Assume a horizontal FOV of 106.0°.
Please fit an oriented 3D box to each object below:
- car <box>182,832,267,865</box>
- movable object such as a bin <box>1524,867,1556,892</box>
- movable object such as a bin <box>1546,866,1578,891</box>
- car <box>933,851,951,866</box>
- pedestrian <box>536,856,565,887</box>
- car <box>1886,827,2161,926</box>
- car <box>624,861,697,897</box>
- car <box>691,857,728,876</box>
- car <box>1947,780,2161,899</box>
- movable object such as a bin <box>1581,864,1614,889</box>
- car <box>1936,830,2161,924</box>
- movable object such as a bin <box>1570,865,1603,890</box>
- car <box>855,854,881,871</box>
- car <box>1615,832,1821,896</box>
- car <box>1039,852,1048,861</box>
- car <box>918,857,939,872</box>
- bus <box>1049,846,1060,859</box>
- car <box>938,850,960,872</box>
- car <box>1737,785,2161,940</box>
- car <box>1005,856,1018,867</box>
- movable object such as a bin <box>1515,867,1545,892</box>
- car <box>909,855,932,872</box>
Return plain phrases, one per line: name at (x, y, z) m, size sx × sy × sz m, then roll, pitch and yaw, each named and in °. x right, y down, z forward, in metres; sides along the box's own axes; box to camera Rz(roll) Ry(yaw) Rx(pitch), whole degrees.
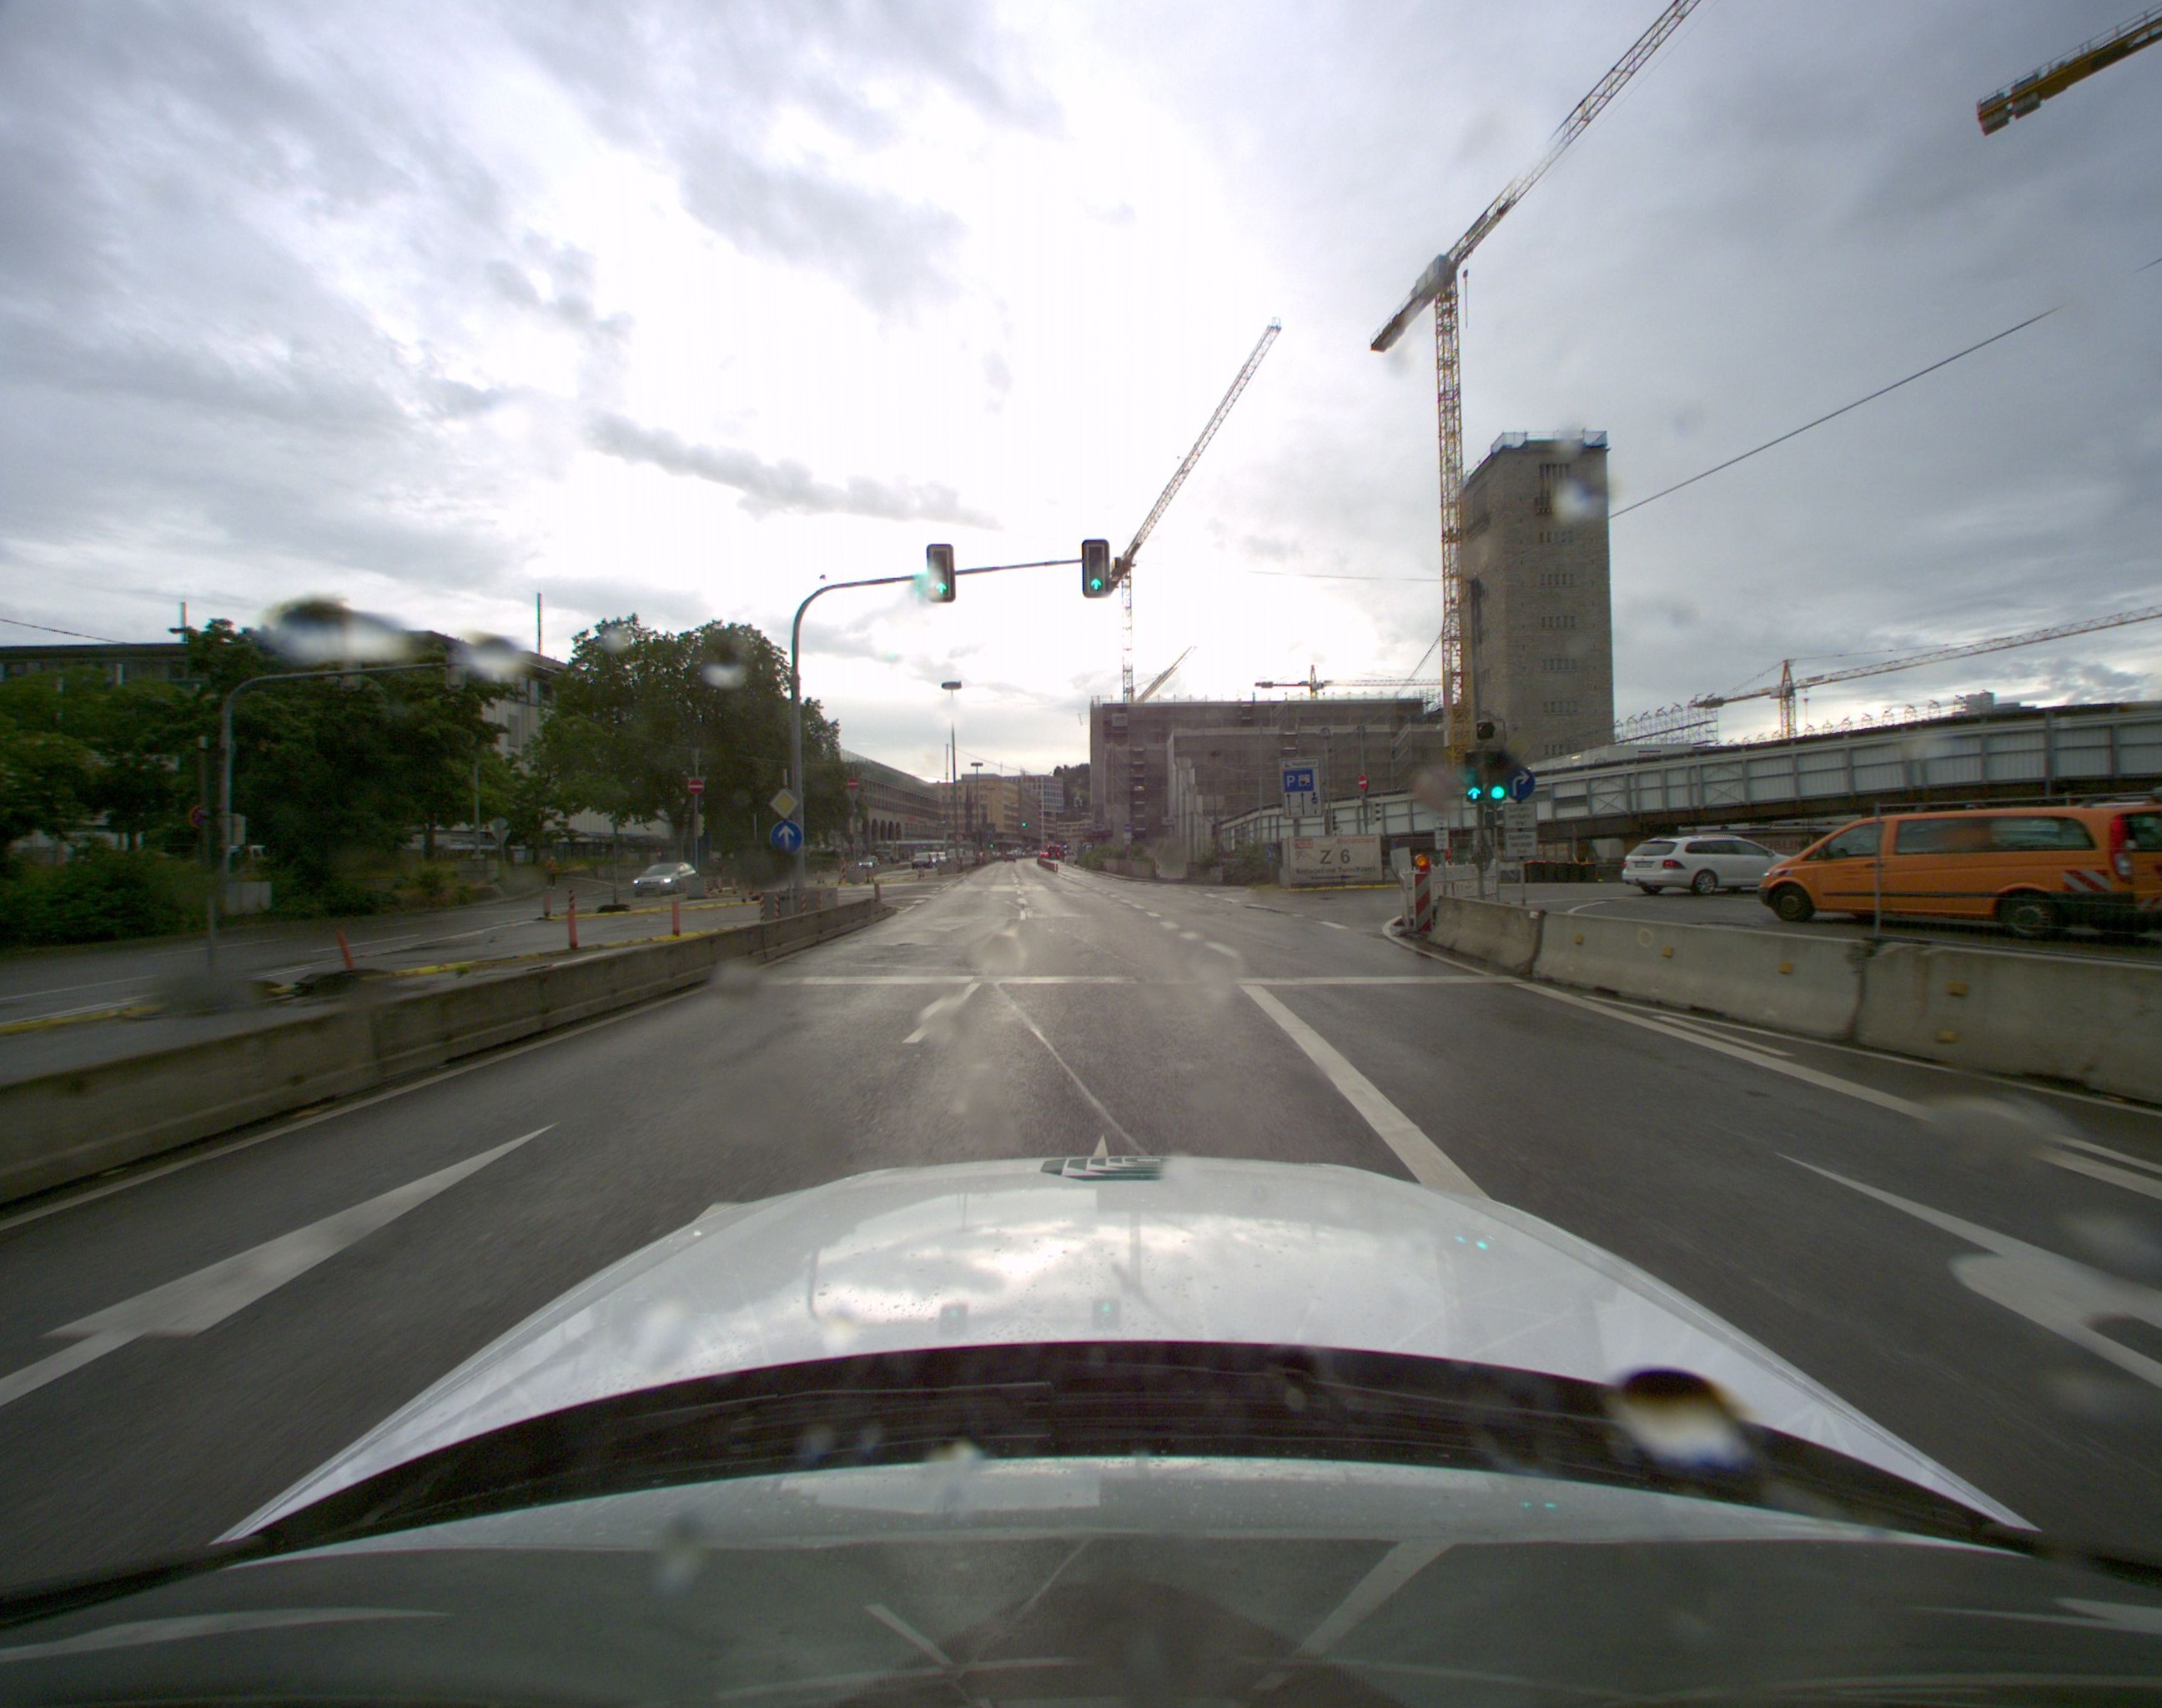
car at (-47.344, -0.280, 45.135) m, size 1.911 × 1.528 × 3.971 m, roll -1°, pitch -3°, yaw -25°
movable object such as a bin at (21.174, 1.174, 37.583) m, size 0.986 × 1.102 × 0.748 m, roll -3°, pitch -3°, yaw 4°
movable object such as a bin at (22.221, 1.129, 37.651) m, size 0.986 × 1.102 × 0.731 m, roll -3°, pitch -3°, yaw 4°
car at (-16.836, 0.558, 98.867) m, size 1.900 × 1.528 × 4.166 m, roll -2°, pitch -3°, yaw -7°
pedestrian at (-26.787, 0.891, 41.164) m, size 0.583 × 1.557 × 1.117 m, roll -3°, pitch -3°, yaw 13°
car at (16.636, 0.371, 13.762) m, size 1.911 × 1.451 × 3.899 m, roll -2°, pitch -2°, yaw -9°
car at (-19.331, 1.103, 37.629) m, size 1.766 × 1.463 × 4.162 m, roll -3°, pitch 0°, yaw -11°
car at (-35.158, 1.190, 76.987) m, size 3.954 × 1.528 × 1.919 m, roll -5°, pitch -4°, yaw 45°
car at (22.033, -0.312, 16.697) m, size 2.045 × 2.313 × 5.584 m, roll -2°, pitch 0°, yaw -11°
movable object such as a bin at (24.232, 1.062, 38.217) m, size 0.986 × 1.102 × 0.731 m, roll -3°, pitch -3°, yaw 4°
car at (19.541, 0.385, 15.595) m, size 1.940 × 1.619 × 3.920 m, roll -2°, pitch 0°, yaw -11°
movable object such as a bin at (23.298, 1.075, 37.535) m, size 0.986 × 1.102 × 0.731 m, roll -3°, pitch -3°, yaw 4°
car at (-21.895, 0.929, 83.759) m, size 1.900 × 1.528 × 4.166 m, roll -2°, pitch -3°, yaw -7°
car at (16.346, 0.237, 20.987) m, size 4.201 × 1.452 × 1.809 m, roll -2°, pitch 0°, yaw -9°
car at (-9.077, 0.552, 195.835) m, size 1.989 × 2.014 × 3.995 m, roll -2°, pitch -3°, yaw -3°
car at (-16.774, 1.181, 89.693) m, size 1.900 × 1.528 × 4.166 m, roll -2°, pitch -3°, yaw -7°
bus at (-5.735, -0.300, 178.227) m, size 1.986 × 2.432 × 4.000 m, roll -3°, pitch -3°, yaw 1°
car at (-13.518, 0.754, 83.458) m, size 1.900 × 2.083 × 4.166 m, roll -2°, pitch -3°, yaw -7°
car at (13.829, 0.125, 13.095) m, size 1.911 × 1.975 × 5.146 m, roll 0°, pitch -1°, yaw -9°
car at (-11.185, 1.248, 130.629) m, size 1.900 × 1.528 × 4.166 m, roll -2°, pitch -3°, yaw -7°
movable object such as a bin at (21.230, 1.212, 38.518) m, size 0.986 × 1.102 × 0.731 m, roll -3°, pitch -3°, yaw 4°
car at (-16.442, 1.000, 83.748) m, size 1.900 × 1.528 × 4.166 m, roll -2°, pitch -3°, yaw -7°
